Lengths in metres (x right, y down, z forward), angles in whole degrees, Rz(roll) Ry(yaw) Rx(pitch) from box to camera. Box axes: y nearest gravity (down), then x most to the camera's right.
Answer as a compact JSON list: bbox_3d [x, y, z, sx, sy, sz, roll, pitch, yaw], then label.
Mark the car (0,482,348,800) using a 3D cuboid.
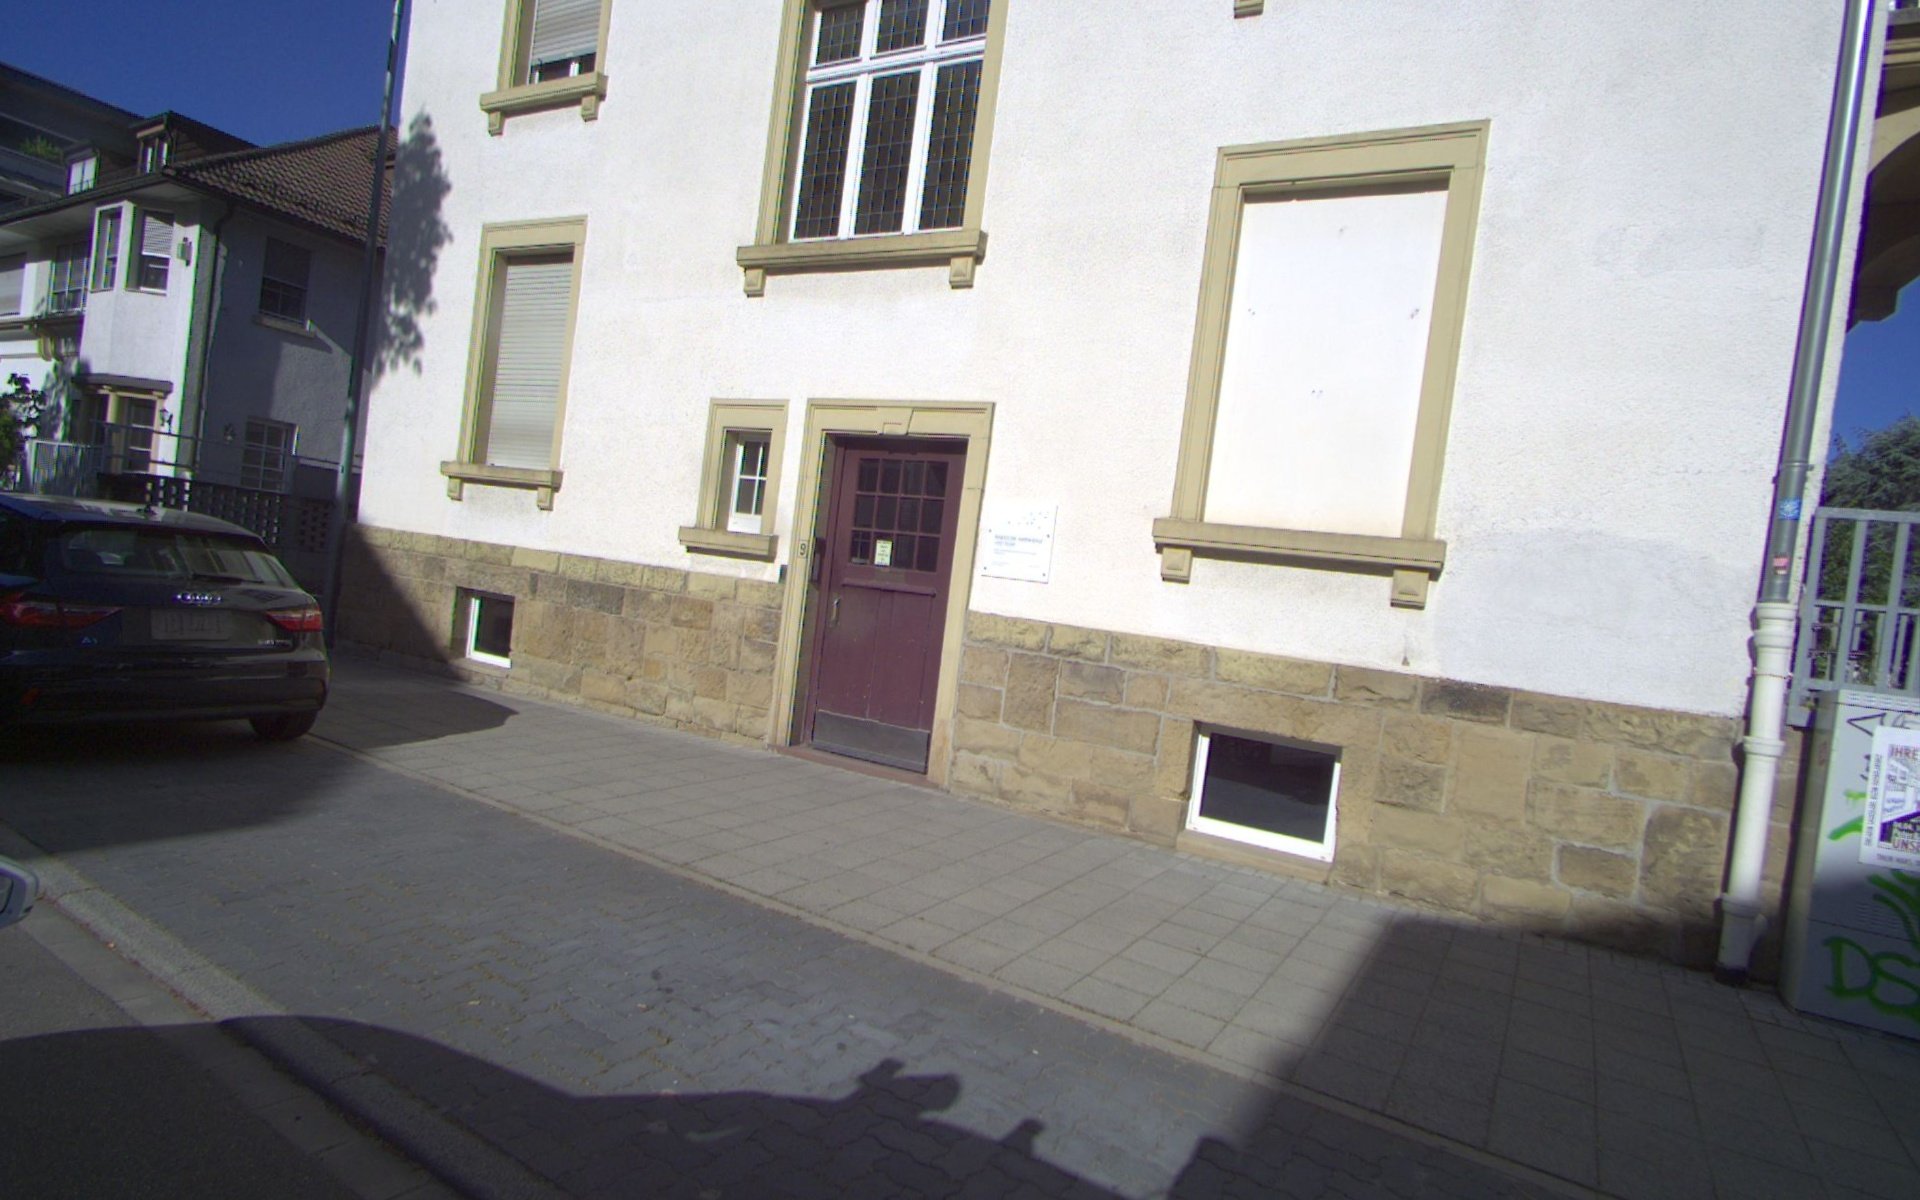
[{"bbox_3d":[-5.947,0.048,6.584,3.868,1.459,1.620,8,4,30],"label":"car"}]
